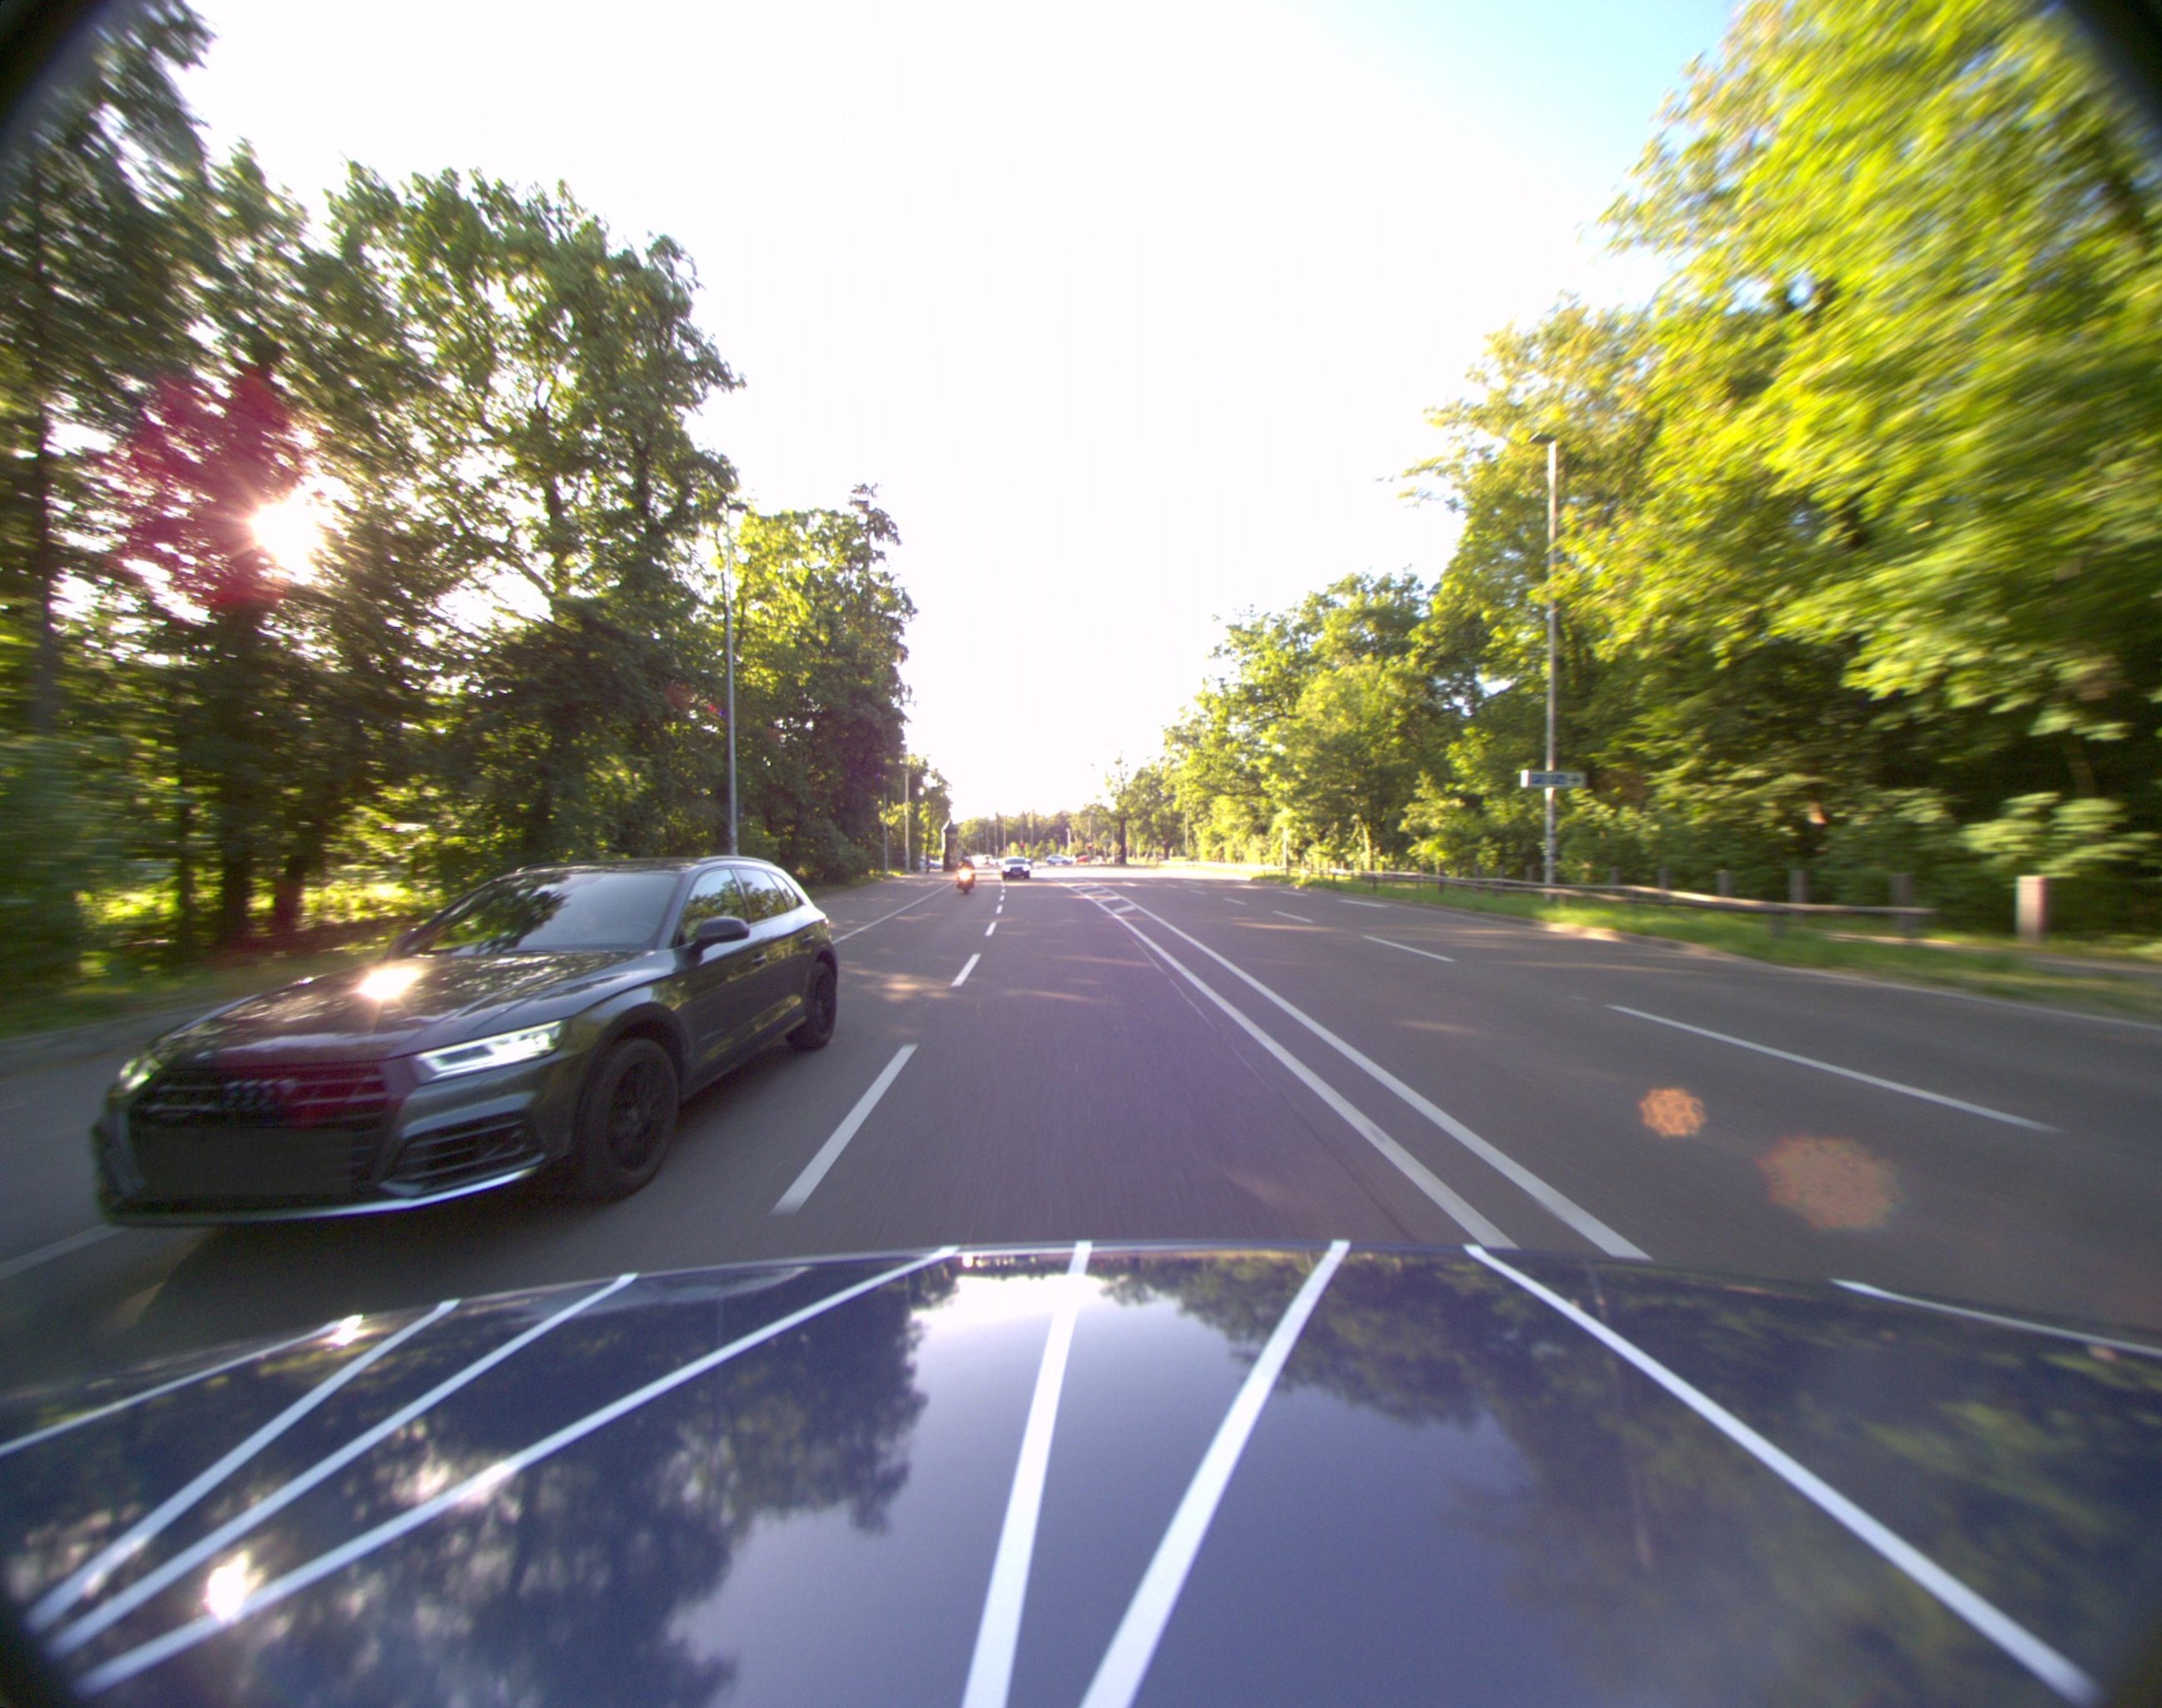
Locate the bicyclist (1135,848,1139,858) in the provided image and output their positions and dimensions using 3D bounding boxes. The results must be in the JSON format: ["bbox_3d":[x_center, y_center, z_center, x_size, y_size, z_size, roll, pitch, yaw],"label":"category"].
[{"bbox_3d":[8.492,-0.113,114.775,0.563,1.542,0.801,-2,-1,8],"label":"bicyclist"}]

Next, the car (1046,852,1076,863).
[{"bbox_3d":[-3.156,0.561,120.303,4.290,1.504,1.842,-1,1,25],"label":"car"}]

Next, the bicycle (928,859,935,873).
[{"bbox_3d":[-13.096,1.018,66.573,0.556,1.131,1.862,-3,1,-9],"label":"bicycle"}]

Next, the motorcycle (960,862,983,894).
[{"bbox_3d":[-4.875,1.032,33.652,0.916,1.243,2.959,-2,1,-9],"label":"motorcycle"}]

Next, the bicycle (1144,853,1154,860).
[{"bbox_3d":[10.005,0.327,112.018,1.355,0.971,0.522,-2,1,-5],"label":"bicycle"}]

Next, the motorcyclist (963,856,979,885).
[{"bbox_3d":[-4.979,0.745,34.371,0.672,1.257,0.825,-2,1,-9],"label":"motorcyclist"}]

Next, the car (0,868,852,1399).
[{"bbox_3d":[-3.099,0.983,4.798,1.898,1.596,4.543,-2,0,0],"label":"car"}]

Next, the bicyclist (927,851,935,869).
[{"bbox_3d":[-13.152,0.522,66.712,0.522,1.461,0.860,-4,1,-9],"label":"bicyclist"}]

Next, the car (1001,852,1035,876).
[{"bbox_3d":[-4.461,0.689,52.918,1.869,1.538,4.791,-2,0,-11],"label":"car"}]

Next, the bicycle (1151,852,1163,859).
[{"bbox_3d":[11.439,0.246,114.435,1.587,0.971,0.786,-2,1,22],"label":"bicycle"}]

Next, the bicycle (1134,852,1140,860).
[{"bbox_3d":[8.520,0.319,115.029,0.681,1.147,1.986,-2,-1,9],"label":"bicycle"}]

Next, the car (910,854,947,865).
[{"bbox_3d":[-19.433,0.724,96.952,4.383,1.370,1.820,1,1,-1],"label":"car"}]

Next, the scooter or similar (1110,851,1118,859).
[{"bbox_3d":[4.624,0.104,105.883,1.070,1.140,0.394,-1,0,-1],"label":"scooter or similar"}]

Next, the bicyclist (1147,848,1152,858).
[{"bbox_3d":[10.123,-0.179,112.016,0.529,1.392,0.518,-2,1,-4],"label":"bicyclist"}]

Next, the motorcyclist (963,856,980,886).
[{"bbox_3d":[-4.827,0.750,33.485,0.672,1.257,0.825,-2,1,-9],"label":"motorcyclist"}]
